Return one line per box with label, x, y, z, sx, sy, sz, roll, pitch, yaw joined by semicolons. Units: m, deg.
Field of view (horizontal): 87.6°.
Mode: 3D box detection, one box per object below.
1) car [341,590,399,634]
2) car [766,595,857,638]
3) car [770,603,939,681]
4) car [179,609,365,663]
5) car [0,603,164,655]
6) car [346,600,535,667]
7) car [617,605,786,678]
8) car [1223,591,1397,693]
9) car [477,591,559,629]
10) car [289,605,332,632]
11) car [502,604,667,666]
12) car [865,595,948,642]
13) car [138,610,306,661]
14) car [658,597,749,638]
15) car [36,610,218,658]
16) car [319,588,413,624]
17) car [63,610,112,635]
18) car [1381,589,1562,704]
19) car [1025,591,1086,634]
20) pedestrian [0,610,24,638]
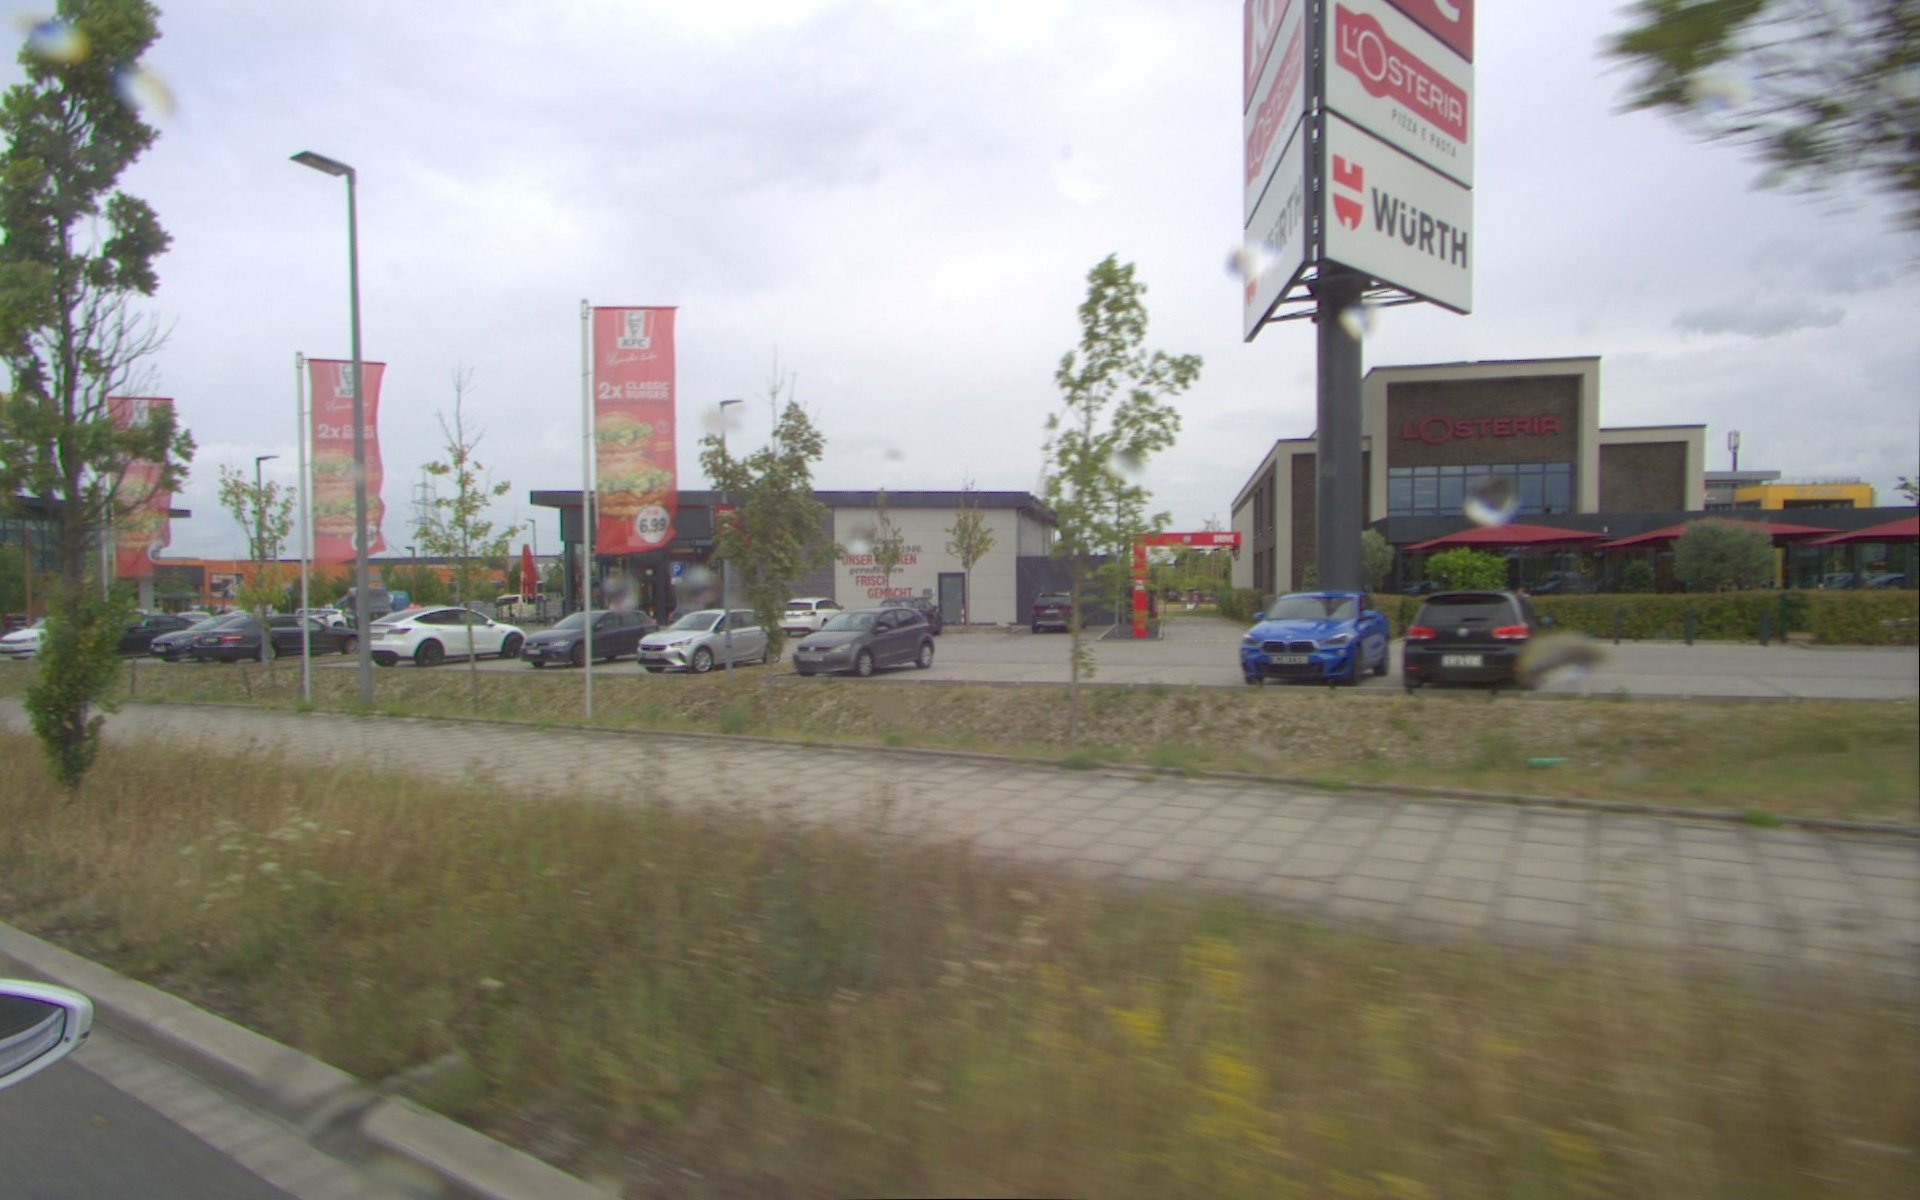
car;-35.894;0.686;60.812;2.253;2.535;7.274;-1;1;-36
car;-5.928;0.634;40.591;2.042;1.539;4.570;-1;1;14
car;-2.223;0.854;22.079;1.862;1.514;3.752;-1;0;30
car;-21.428;1.074;31.451;1.996;1.488;4.523;0;0;18
car;-30.952;0.968;35.256;1.901;1.661;4.357;0;0;13
car;-14.922;0.899;29.059;2.053;1.667;4.561;-1;2;23
car;-6.239;0.956;24.608;1.873;1.501;3.856;-1;2;28
car;6.167;0.626;17.322;1.938;1.540;4.253;0;0;32
car;-29.141;0.616;66.022;5.618;2.382;2.518;0;1;37
car;-37.607;1.055;57.933;1.931;1.462;4.189;-1;0;-35
car;-10.189;0.914;27.462;1.910;1.504;3.984;-1;0;27
car;-1.900;0.635;37.103;1.940;1.539;4.571;-1;1;12
car;-24.034;1.121;32.794;1.908;1.457;4.090;0;1;17
car;-10.831;0.709;42.706;2.009;1.539;4.373;-1;1;12
car;-28.576;1.128;34.555;2.036;1.456;4.476;0;0;15
car;-44.384;0.403;75.052;5.958;2.562;2.270;-1;1;-29
car;-57.111;1.449;65.502;3.956;1.602;1.983;-1;0;43
car;7.956;0.612;15.385;1.955;1.513;3.975;0;0;35
car;3.816;0.438;39.164;1.861;1.539;4.571;-1;1;12
pedestrian;-50.917;1.266;53.741;0.757;1.458;0.622;-1;1;-19
